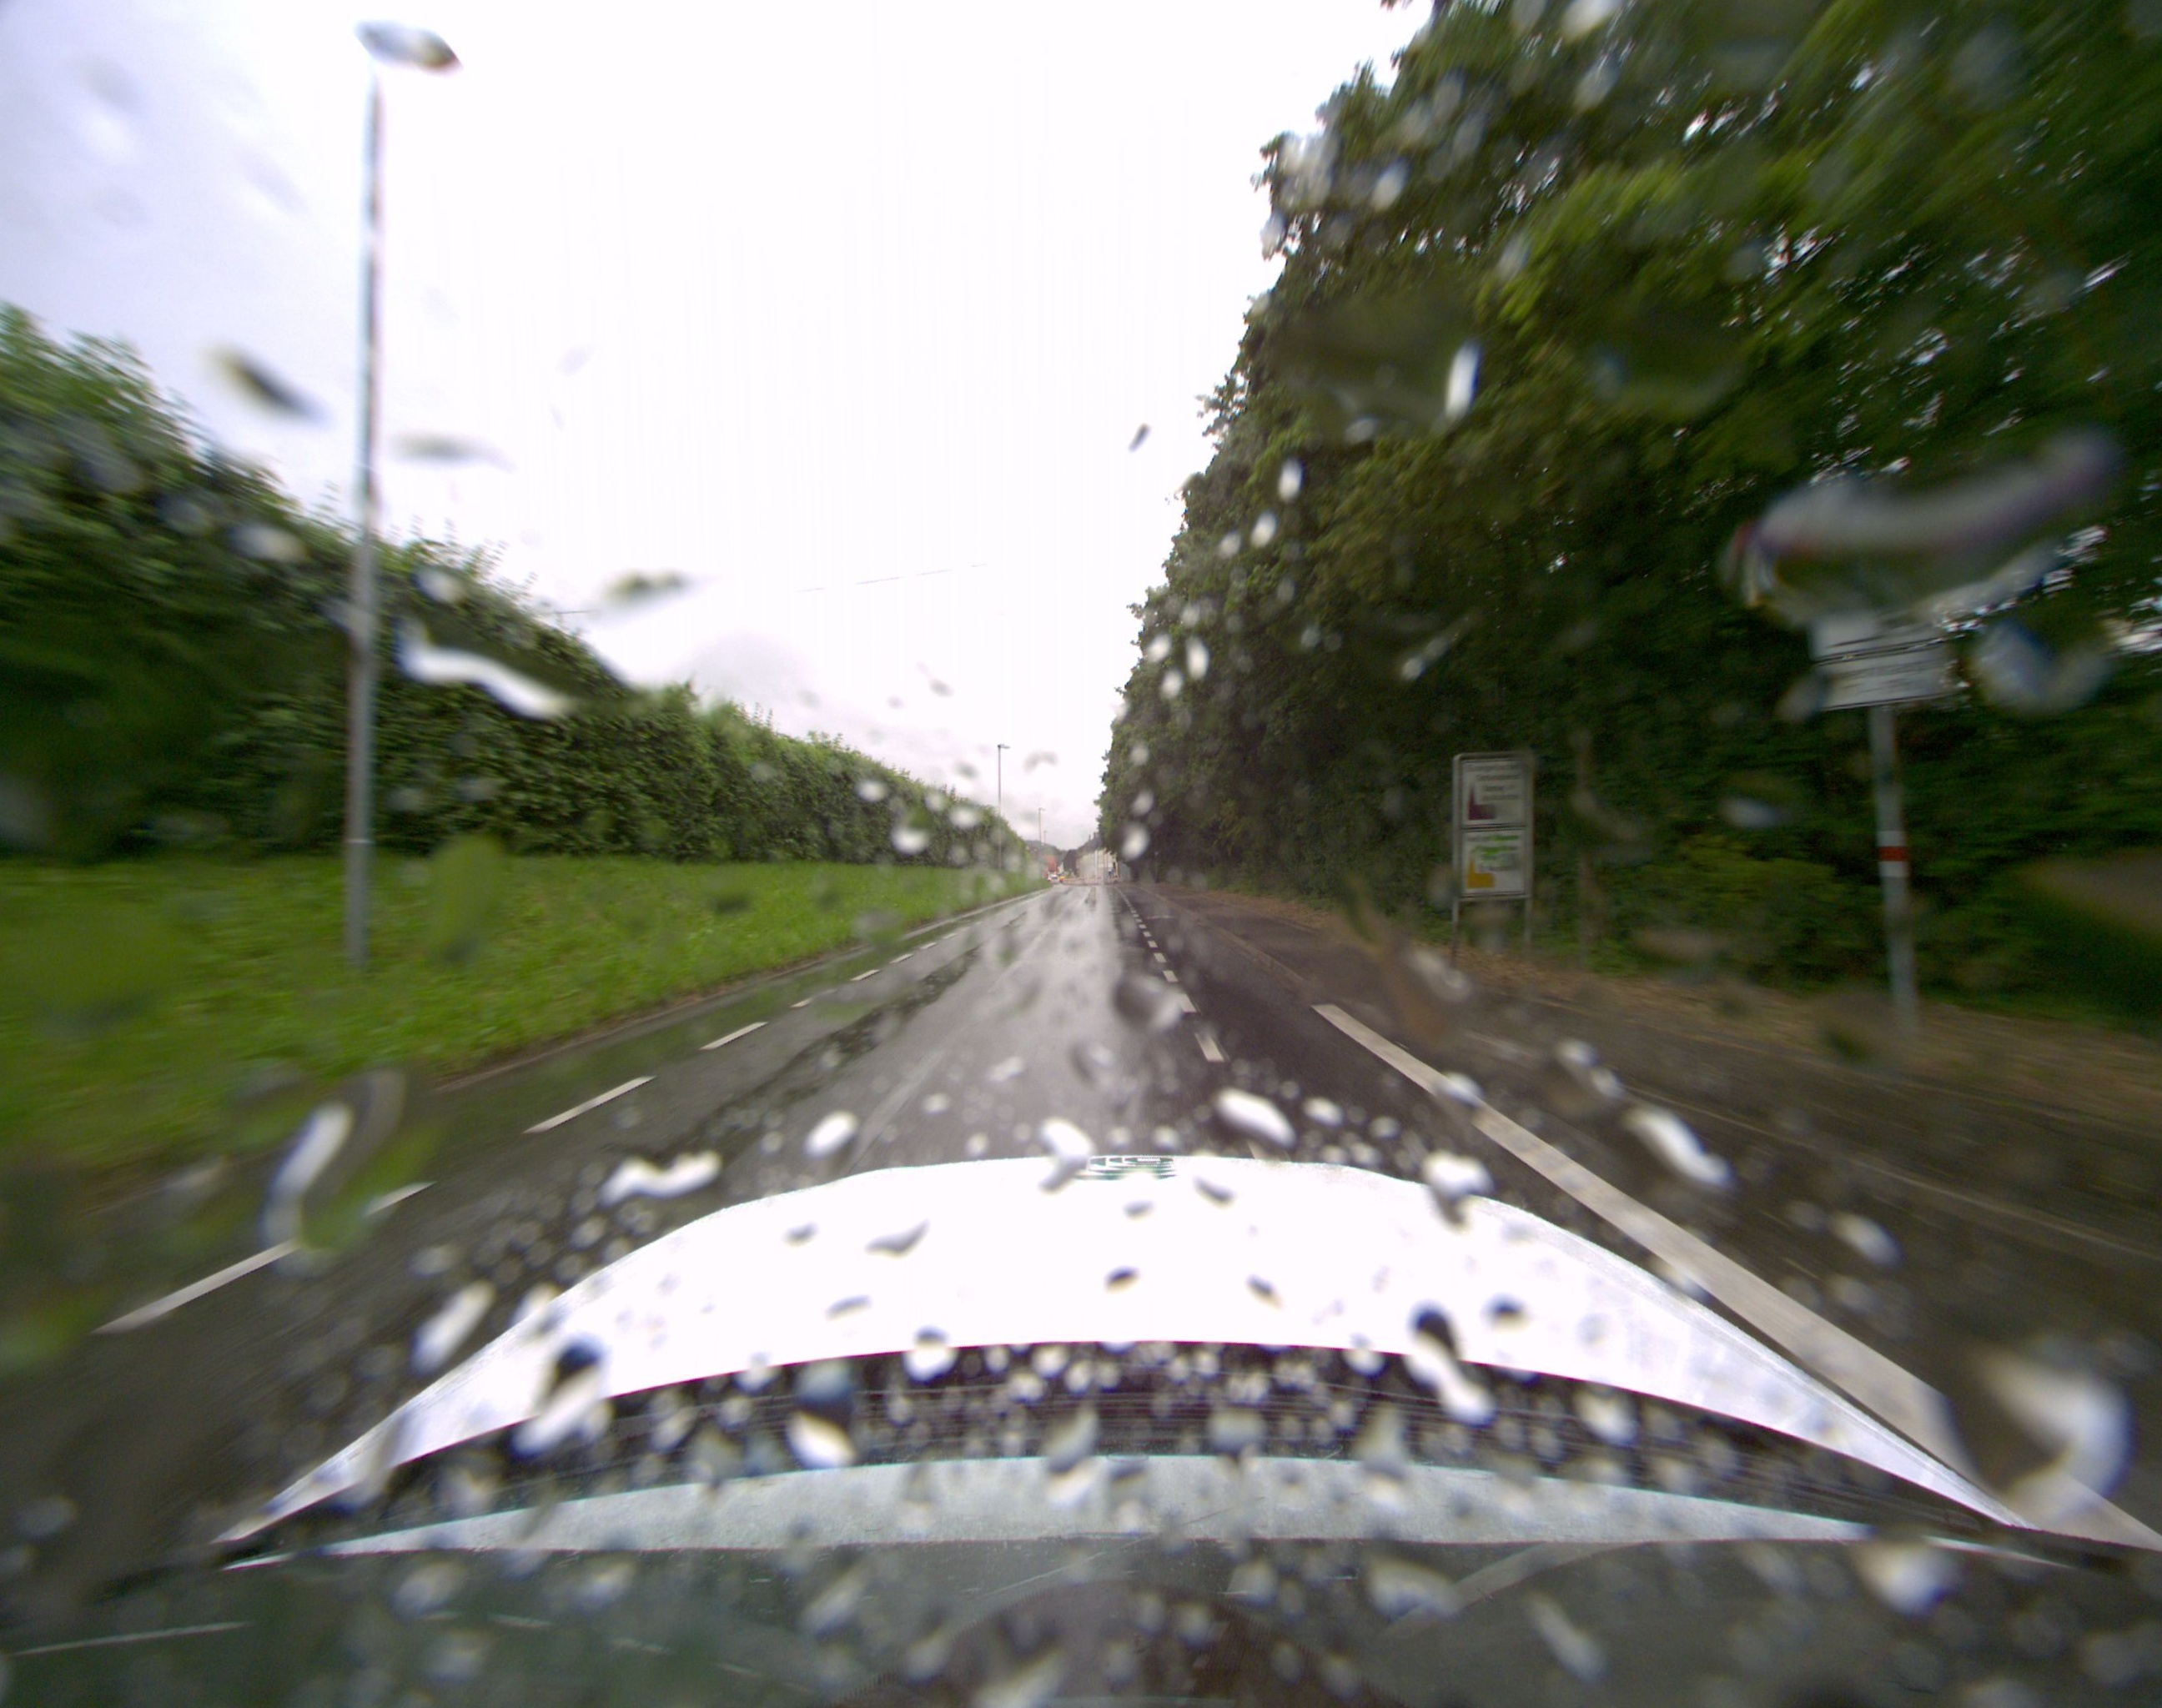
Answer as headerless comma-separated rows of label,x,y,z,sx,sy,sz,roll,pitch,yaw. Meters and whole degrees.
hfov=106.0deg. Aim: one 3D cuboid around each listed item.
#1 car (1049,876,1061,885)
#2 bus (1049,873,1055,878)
car,-5.297,5.315,163.851,1.992,1.611,3.989,1,0,-8
bus,-8.970,6.672,250.850,1.789,1.409,3.998,2,0,-1
